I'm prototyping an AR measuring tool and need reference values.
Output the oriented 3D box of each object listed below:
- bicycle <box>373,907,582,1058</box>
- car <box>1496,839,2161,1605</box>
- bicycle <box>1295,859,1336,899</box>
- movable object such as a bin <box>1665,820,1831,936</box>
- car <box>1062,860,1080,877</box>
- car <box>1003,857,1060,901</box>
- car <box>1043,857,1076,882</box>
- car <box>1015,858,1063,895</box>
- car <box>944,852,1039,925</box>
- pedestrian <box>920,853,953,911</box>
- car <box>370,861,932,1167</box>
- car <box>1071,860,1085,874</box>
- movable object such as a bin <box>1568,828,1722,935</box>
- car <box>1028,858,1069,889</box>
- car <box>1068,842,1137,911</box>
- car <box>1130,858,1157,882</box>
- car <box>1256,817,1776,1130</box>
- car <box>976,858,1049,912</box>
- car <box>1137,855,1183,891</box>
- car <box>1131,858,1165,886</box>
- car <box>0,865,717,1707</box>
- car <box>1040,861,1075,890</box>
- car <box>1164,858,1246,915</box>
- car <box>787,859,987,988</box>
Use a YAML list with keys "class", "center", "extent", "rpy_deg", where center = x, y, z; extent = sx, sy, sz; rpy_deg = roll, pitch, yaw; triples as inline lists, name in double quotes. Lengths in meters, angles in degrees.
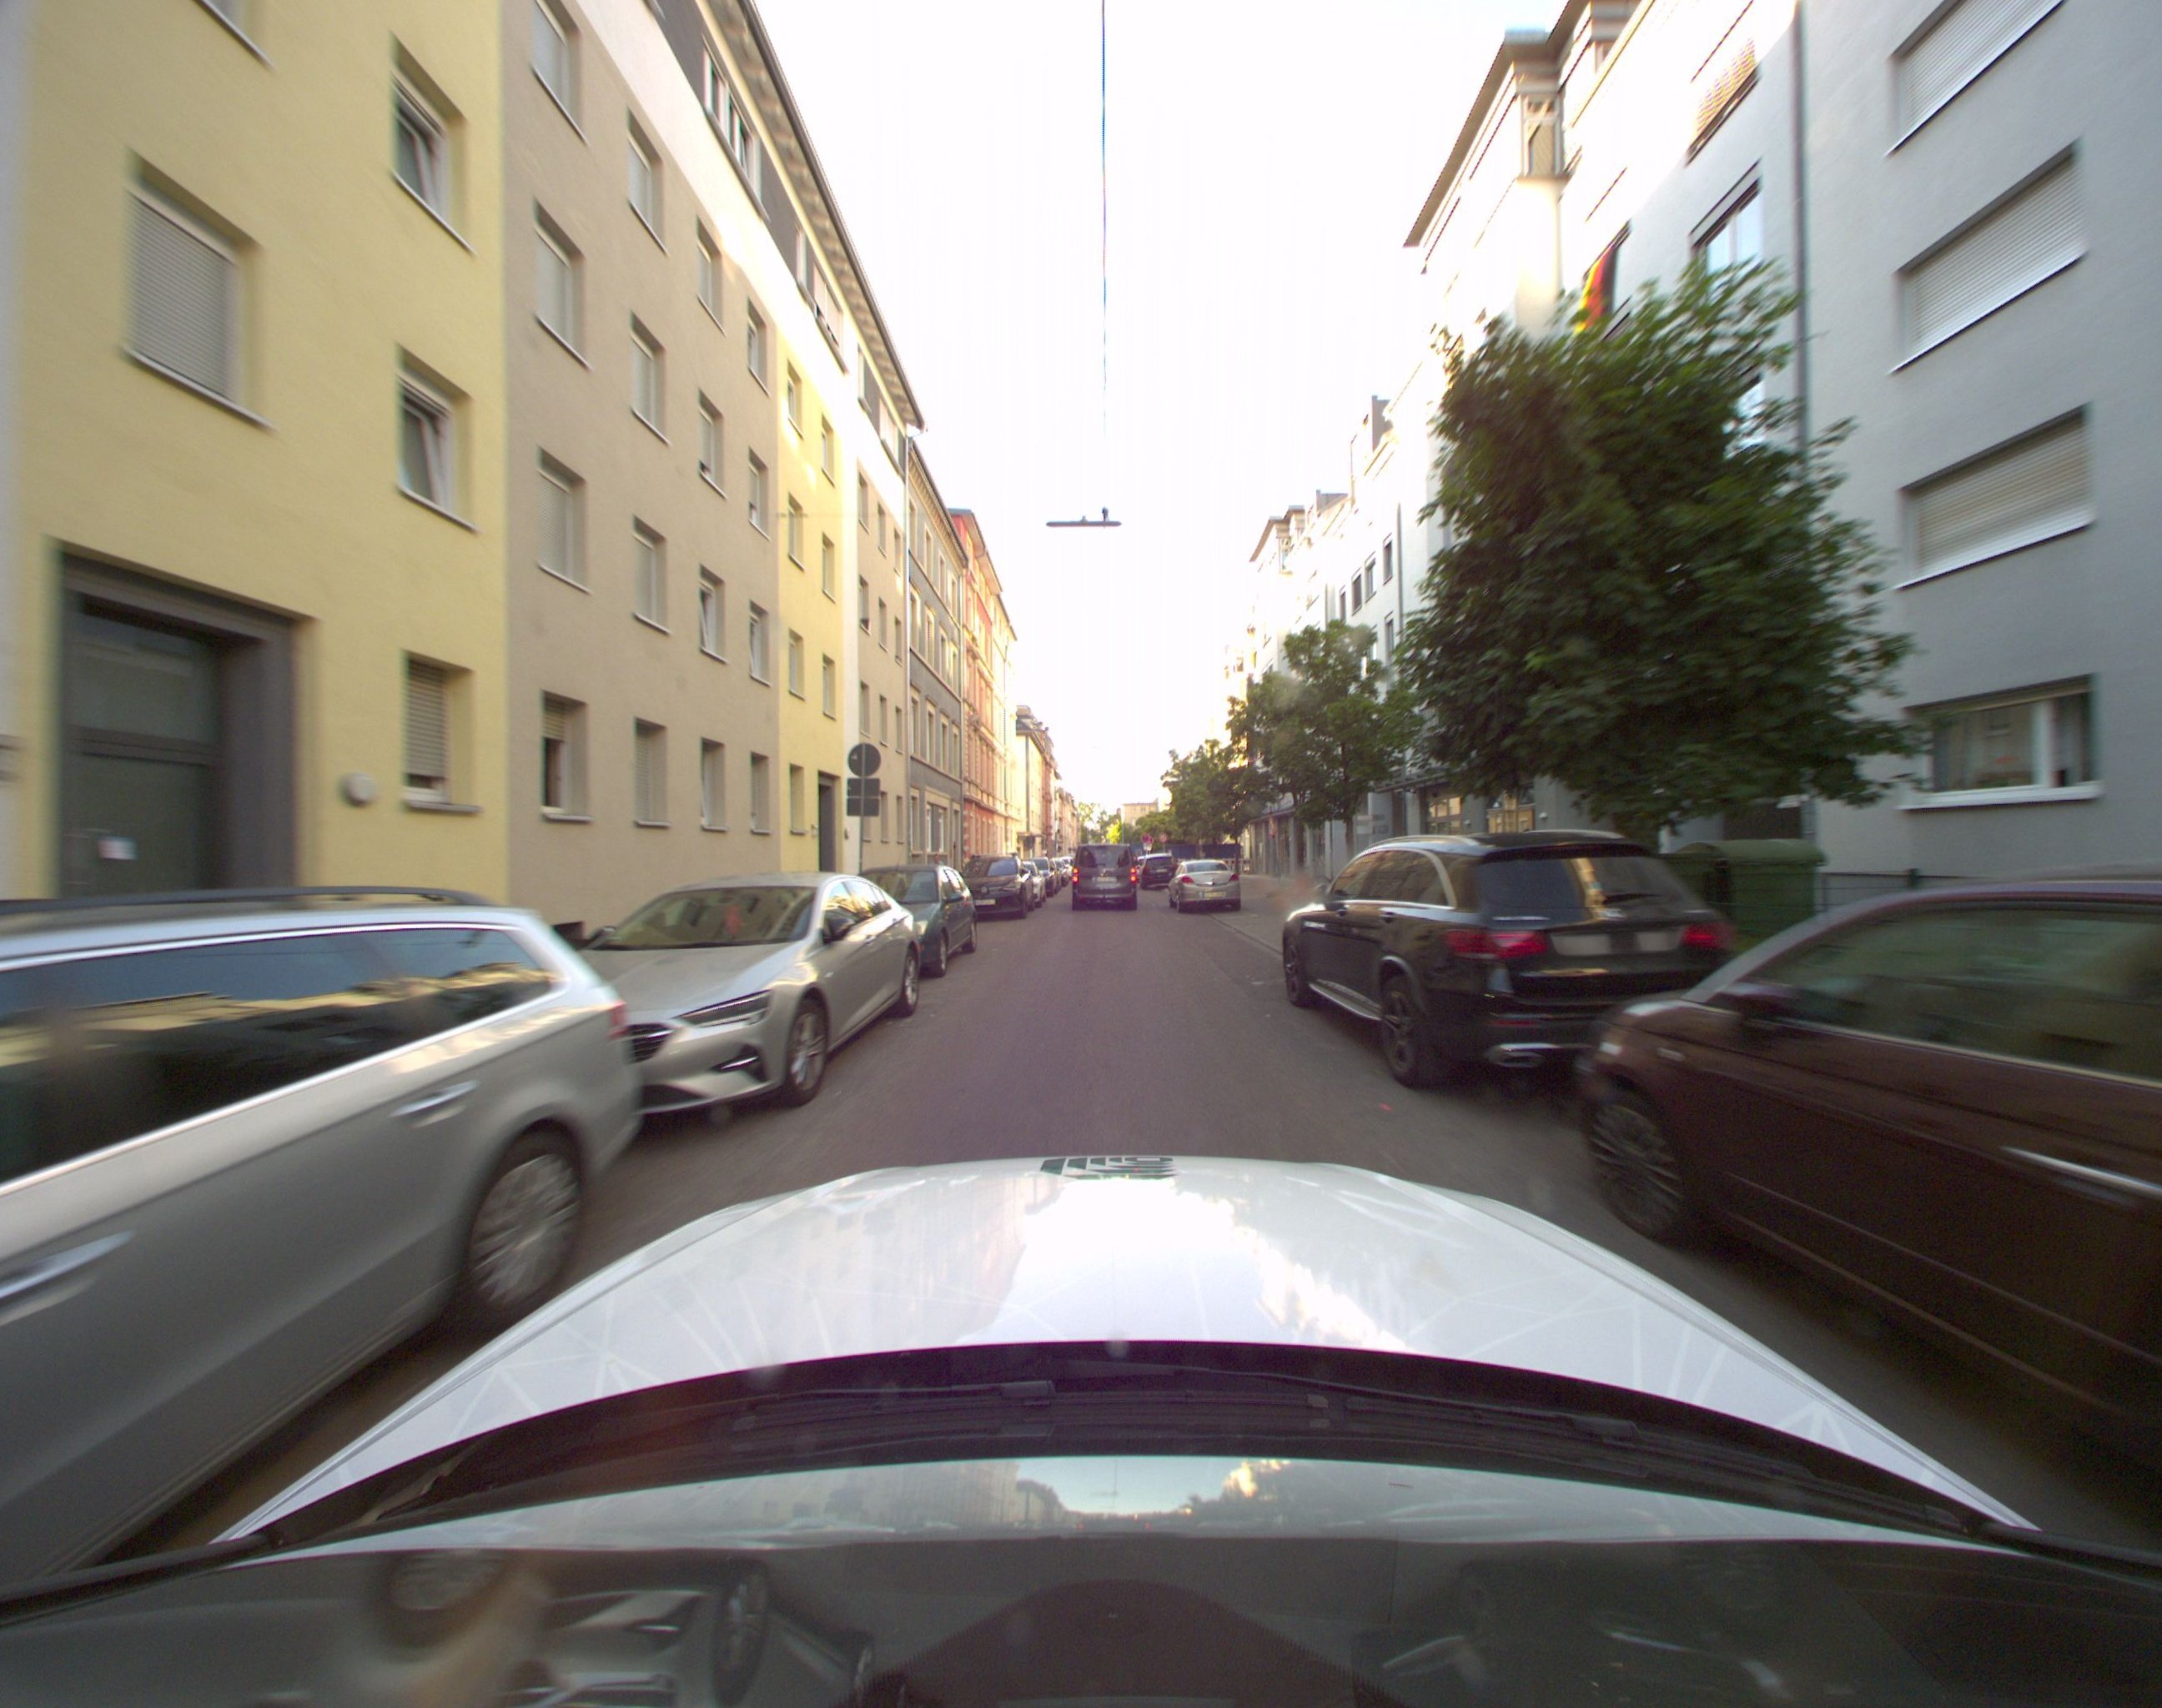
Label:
- class: "bicycle"
  center: [-5.758, 1.162, 7.934]
  extent: [0.608, 1.168, 1.924]
  rpy_deg: [-2, -1, -1]
- class: "car"
  center: [2.953, 0.713, 2.362]
  extent: [1.670, 1.483, 3.653]
  rpy_deg: [-2, -1, 1]
- class: "bicycle"
  center: [7.265, 0.763, 25.291]
  extent: [0.520, 1.168, 1.735]
  rpy_deg: [-2, -1, -9]
- class: "movable object such as a bin"
  center: [8.856, 0.306, 10.884]
  extent: [1.257, 1.436, 1.139]
  rpy_deg: [-2, -1, 1]
- class: "car"
  center: [-1.209, 1.677, 93.740]
  extent: [1.887, 1.720, 3.750]
  rpy_deg: [4, -1, -2]
- class: "car"
  center: [-1.932, 0.944, 32.931]
  extent: [1.914, 1.560, 4.267]
  rpy_deg: [-3, 0, 0]
- class: "car"
  center: [-1.382, 1.031, 54.571]
  extent: [1.914, 1.507, 4.268]
  rpy_deg: [-3, 0, 1]
- class: "car"
  center: [-1.915, 0.992, 38.276]
  extent: [1.894, 1.560, 4.240]
  rpy_deg: [-3, 0, 0]
- class: "car"
  center: [-2.270, 0.843, 21.810]
  extent: [1.914, 1.663, 4.469]
  rpy_deg: [-3, 0, 0]
- class: "pedestrian"
  center: [-4.585, 0.877, 25.883]
  extent: [0.786, 1.790, 1.092]
  rpy_deg: [-2, -1, 1]
- class: "car"
  center: [-2.623, 0.842, 6.469]
  extent: [1.916, 1.488, 4.617]
  rpy_deg: [-2, -1, 1]
- class: "car"
  center: [-0.494, 1.953, 123.290]
  extent: [1.887, 1.847, 4.345]
  rpy_deg: [4, -1, -2]
- class: "movable object such as a bin"
  center: [7.525, 0.353, 10.943]
  extent: [1.257, 1.321, 1.139]
  rpy_deg: [-2, -1, 1]
- class: "car"
  center: [-1.688, 0.986, 43.748]
  extent: [1.914, 1.484, 4.267]
  rpy_deg: [-3, 0, 0]
- class: "car"
  center: [0.657, 0.652, 24.488]
  extent: [1.858, 1.886, 4.236]
  rpy_deg: [0, -1, 2]
- class: "car"
  center: [4.106, 1.067, 53.805]
  extent: [1.669, 1.476, 3.733]
  rpy_deg: [-2, -1, 4]
- class: "car"
  center: [2.863, 0.675, 6.784]
  extent: [1.864, 1.635, 4.724]
  rpy_deg: [-2, -1, 1]
- class: "car"
  center: [-2.164, 0.946, 26.827]
  extent: [1.914, 1.560, 4.267]
  rpy_deg: [-3, 0, 0]
- class: "car"
  center: [3.798, 0.894, 39.753]
  extent: [1.878, 1.622, 4.435]
  rpy_deg: [-2, -1, 1]
- class: "car"
  center: [3.972, 1.057, 48.842]
  extent: [1.671, 1.525, 3.970]
  rpy_deg: [-2, -1, 0]
- class: "car"
  center: [-2.744, 0.804, 1.632]
  extent: [1.916, 1.488, 4.616]
  rpy_deg: [-2, -1, 0]
- class: "car"
  center: [-1.373, 1.263, 49.169]
  extent: [1.914, 1.560, 4.267]
  rpy_deg: [-3, 0, 0]
- class: "car"
  center: [3.457, 0.877, 23.390]
  extent: [1.757, 1.429, 4.346]
  rpy_deg: [-2, -1, 1]
- class: "car"
  center: [-2.589, 0.857, 11.995]
  extent: [1.773, 1.488, 4.421]
  rpy_deg: [-2, -1, 1]
